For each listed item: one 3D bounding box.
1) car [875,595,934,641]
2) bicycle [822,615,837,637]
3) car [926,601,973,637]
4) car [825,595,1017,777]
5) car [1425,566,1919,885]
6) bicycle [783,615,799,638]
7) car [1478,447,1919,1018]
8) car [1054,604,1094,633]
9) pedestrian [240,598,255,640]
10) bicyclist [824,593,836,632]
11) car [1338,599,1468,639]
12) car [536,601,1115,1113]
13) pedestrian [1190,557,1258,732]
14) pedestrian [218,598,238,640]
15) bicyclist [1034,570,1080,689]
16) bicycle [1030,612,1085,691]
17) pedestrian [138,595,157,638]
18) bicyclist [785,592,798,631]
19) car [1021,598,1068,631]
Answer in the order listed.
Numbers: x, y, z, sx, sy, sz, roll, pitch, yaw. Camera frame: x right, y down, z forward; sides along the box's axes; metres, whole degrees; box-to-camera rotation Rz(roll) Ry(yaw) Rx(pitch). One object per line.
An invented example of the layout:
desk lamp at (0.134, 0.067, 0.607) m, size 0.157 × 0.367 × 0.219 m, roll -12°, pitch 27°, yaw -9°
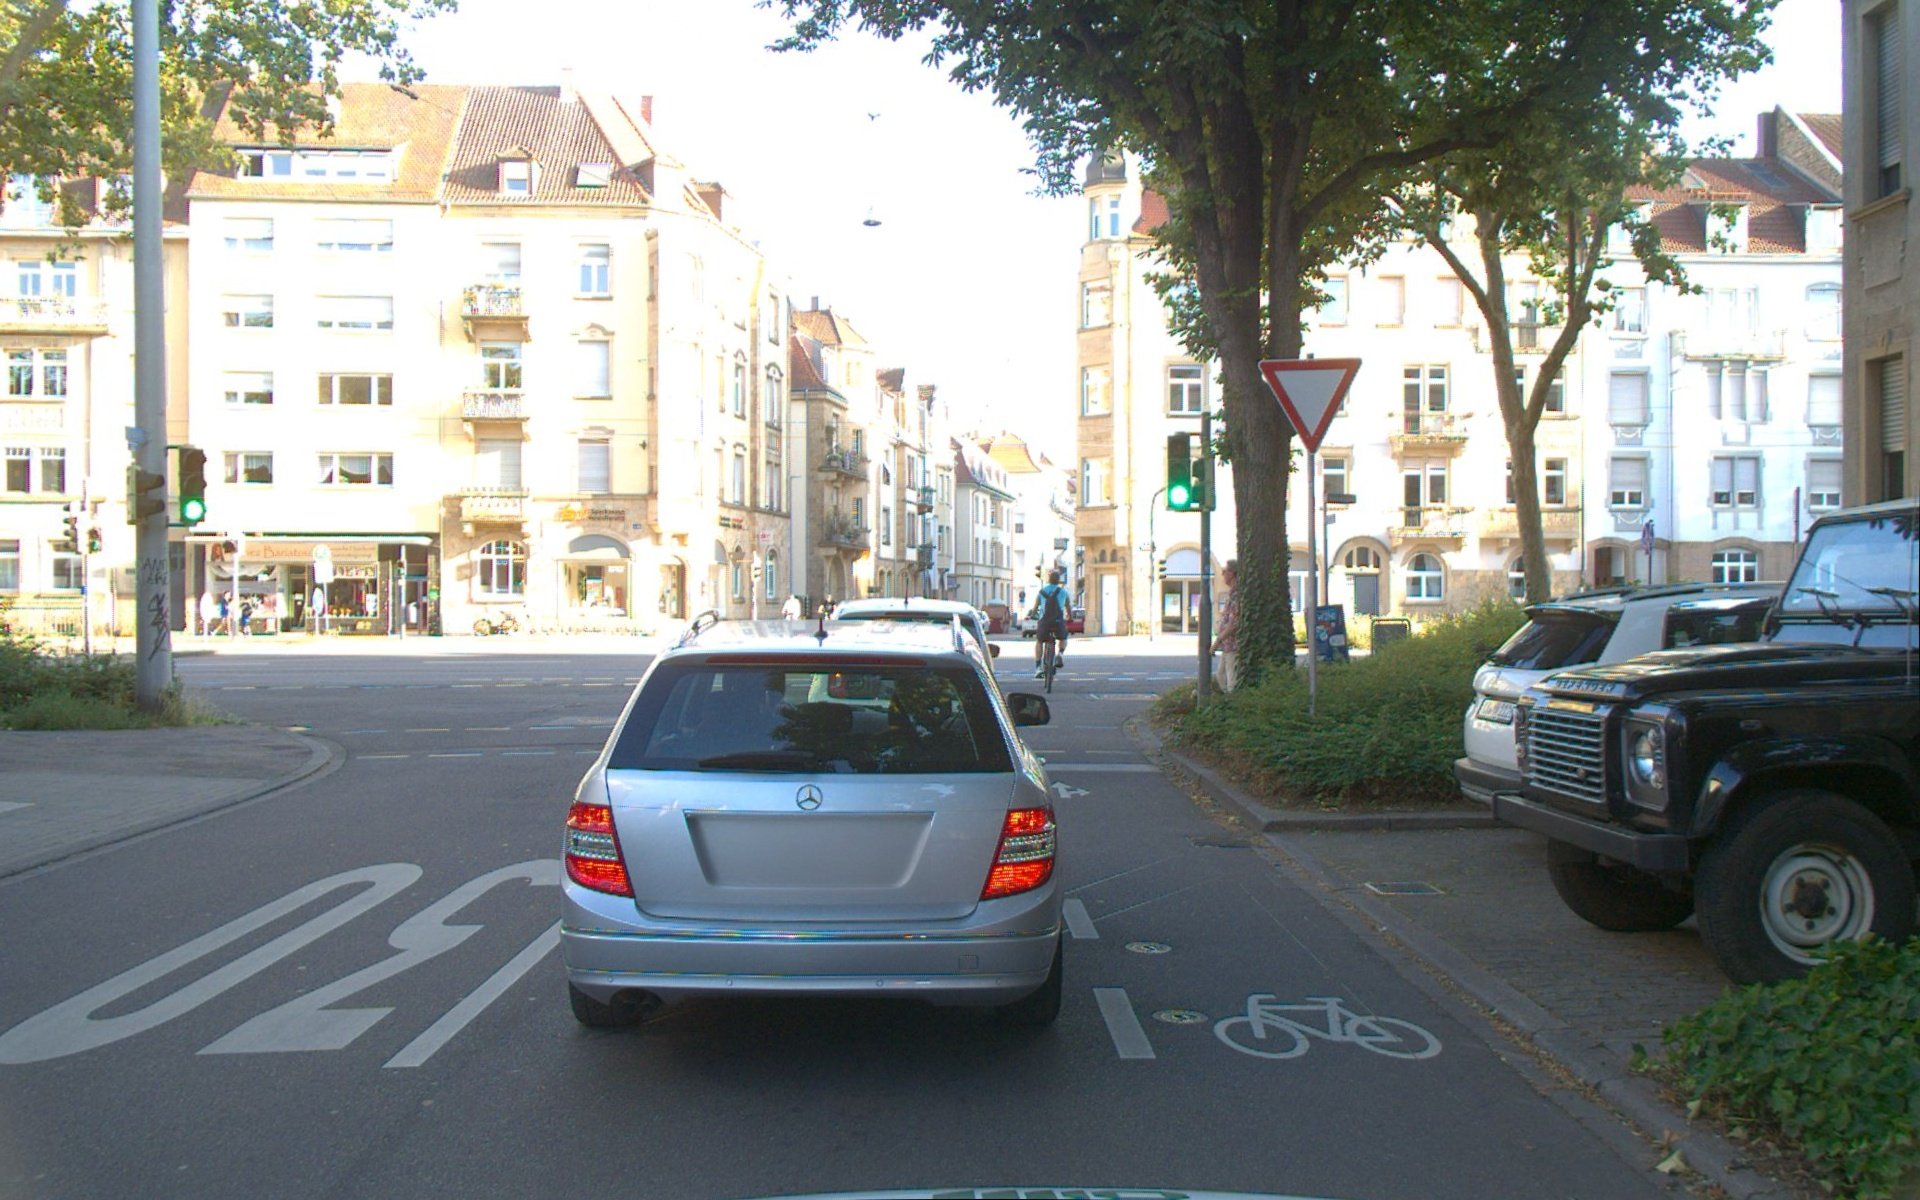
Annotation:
car at (-2.443, 0.790, 73.952) m, size 1.896 × 1.993 × 4.153 m, roll 0°, pitch 0°, yaw 8°
bicycle at (-5.179, 1.024, 65.878) m, size 0.557 × 0.849 × 1.565 m, roll 0°, pitch 0°, yaw -3°
car at (-0.503, 0.926, 83.236) m, size 1.650 × 1.753 × 4.004 m, roll 0°, pitch 0°, yaw 11°
car at (-0.347, 0.674, 14.836) m, size 1.502 × 1.415 × 3.598 m, roll 0°, pitch 0°, yaw -1°
car at (4.695, 0.635, 9.656) m, size 3.414 × 1.614 × 1.709 m, roll -1°, pitch 0°, yaw -6°
bicycle at (-6.638, 1.034, 65.090) m, size 0.557 × 0.849 × 1.565 m, roll 0°, pitch 0°, yaw -3°
car at (4.660, 0.402, 6.856) m, size 4.401 × 1.990 × 1.792 m, roll -2°, pitch 0°, yaw -3°
car at (6.803, 1.064, 98.691) m, size 1.684 × 1.503 × 4.004 m, roll -4°, pitch 0°, yaw 13°
pedestrian at (-26.212, 0.684, 60.829) m, size 0.465 × 1.537 × 0.428 m, roll 0°, pitch 0°, yaw -20°
bicyclist at (-5.191, 0.477, 65.958) m, size 0.457 × 1.547 × 0.693 m, roll 0°, pitch 0°, yaw -3°
car at (12.410, 0.519, 46.409) m, size 3.295 × 1.087 × 1.380 m, roll 0°, pitch 0°, yaw -1°
car at (-0.450, 0.756, 6.556) m, size 1.656 × 1.454 × 3.491 m, roll 1°, pitch 0°, yaw -2°
pedestrian at (2.881, 0.478, 18.083) m, size 0.619 × 1.877 × 0.574 m, roll 0°, pitch 0°, yaw -4°
pedestrian at (-26.972, 0.684, 60.946) m, size 0.498 × 1.537 × 0.536 m, roll 0°, pitch 0°, yaw -6°
bicyclist at (1.492, 0.450, 25.503) m, size 0.633 × 1.806 × 0.831 m, roll 1°, pitch 0°, yaw 0°
bicycle at (1.488, 0.774, 25.518) m, size 0.727 × 1.137 × 2.013 m, roll 1°, pitch 0°, yaw 0°
pedestrian at (-29.331, 0.582, 59.720) m, size 0.556 × 1.537 × 0.499 m, roll 0°, pitch 0°, yaw -19°
bicyclist at (-6.629, 0.455, 65.085) m, size 0.457 × 1.541 × 0.655 m, roll 0°, pitch 0°, yaw -3°
car at (4.251, 0.705, 82.797) m, size 1.684 × 1.504 × 4.004 m, roll -2°, pitch 0°, yaw 13°
